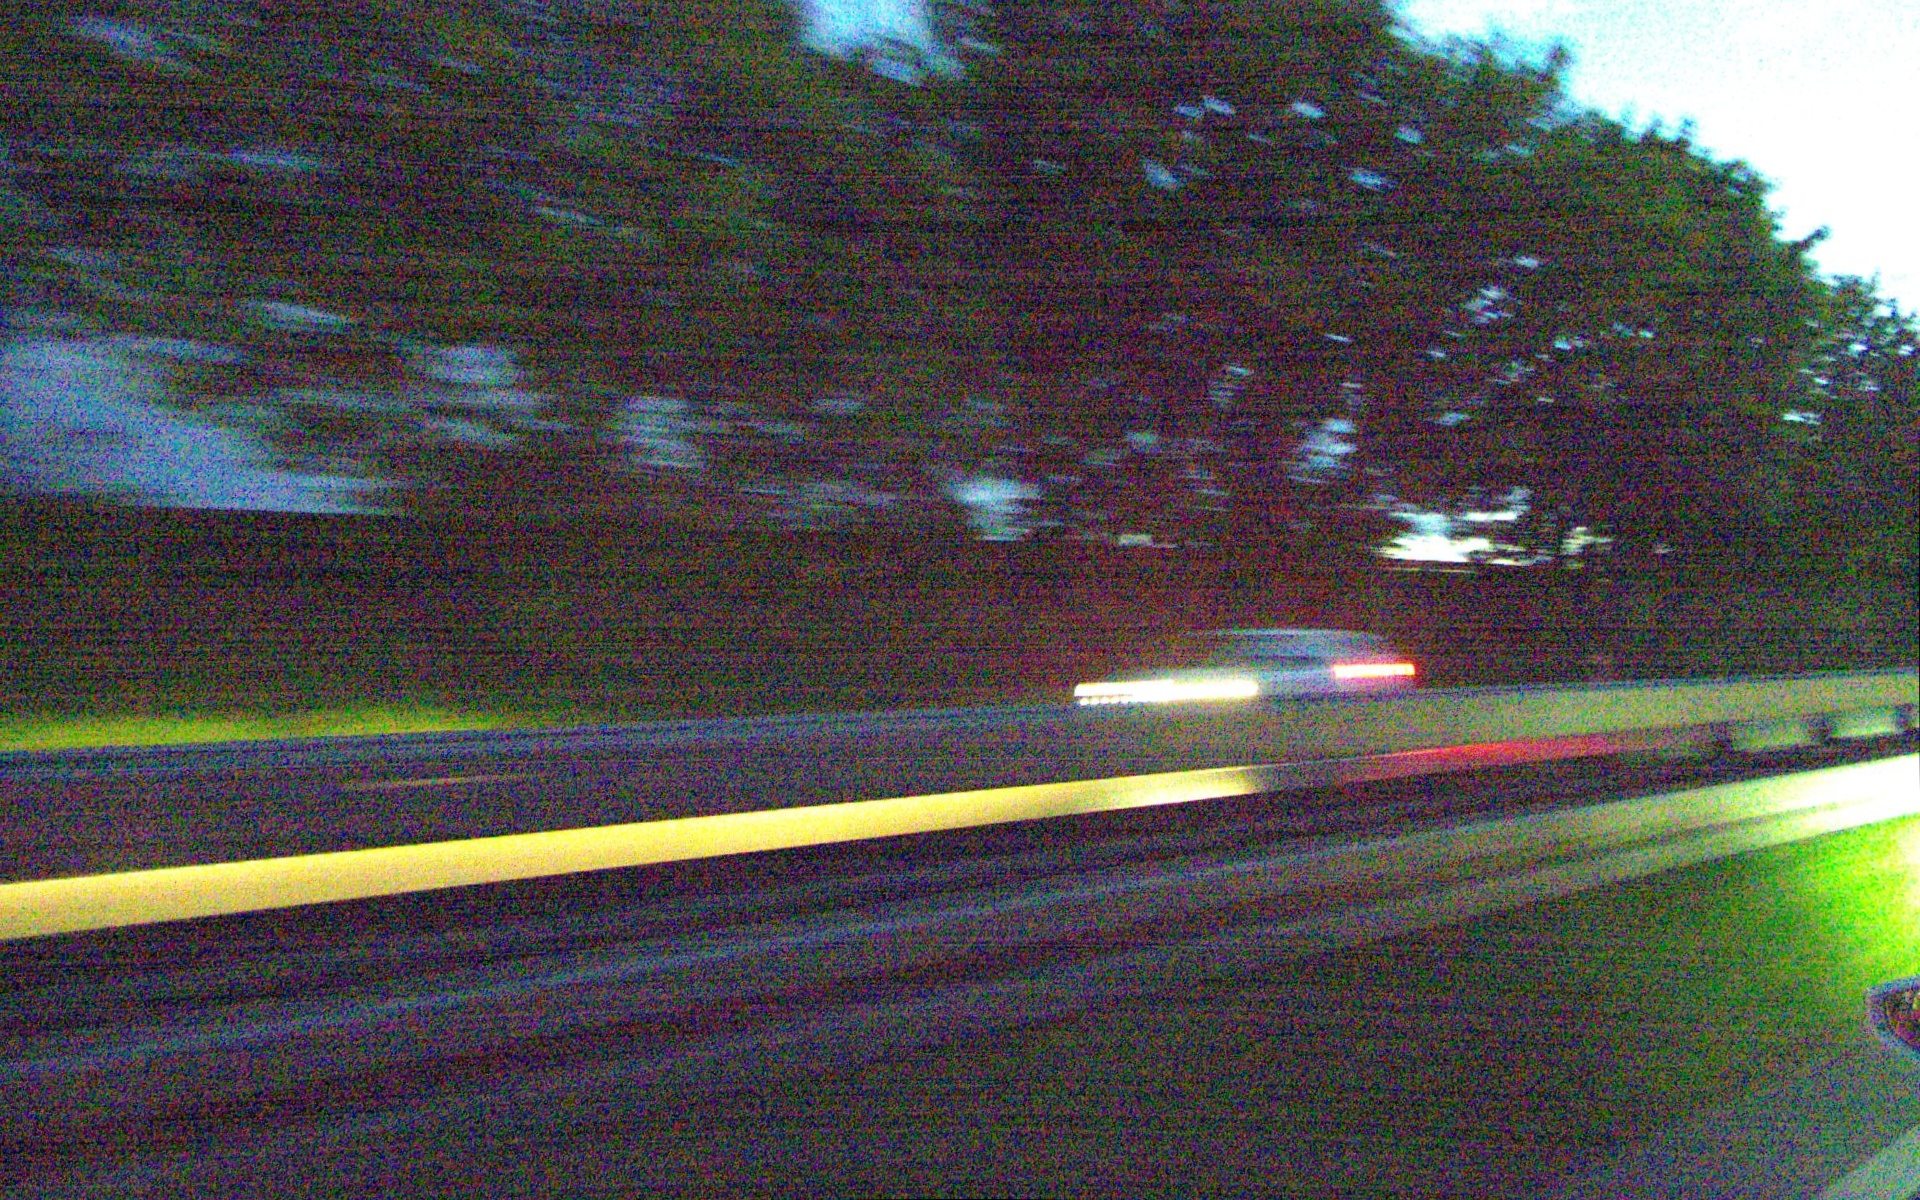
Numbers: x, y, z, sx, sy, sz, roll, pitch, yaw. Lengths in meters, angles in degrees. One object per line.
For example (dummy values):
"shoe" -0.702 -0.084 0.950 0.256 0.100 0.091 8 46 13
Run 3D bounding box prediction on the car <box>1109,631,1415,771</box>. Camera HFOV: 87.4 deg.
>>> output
"car" 3.929 1.204 12.935 3.824 1.527 1.609 2 0 -31
